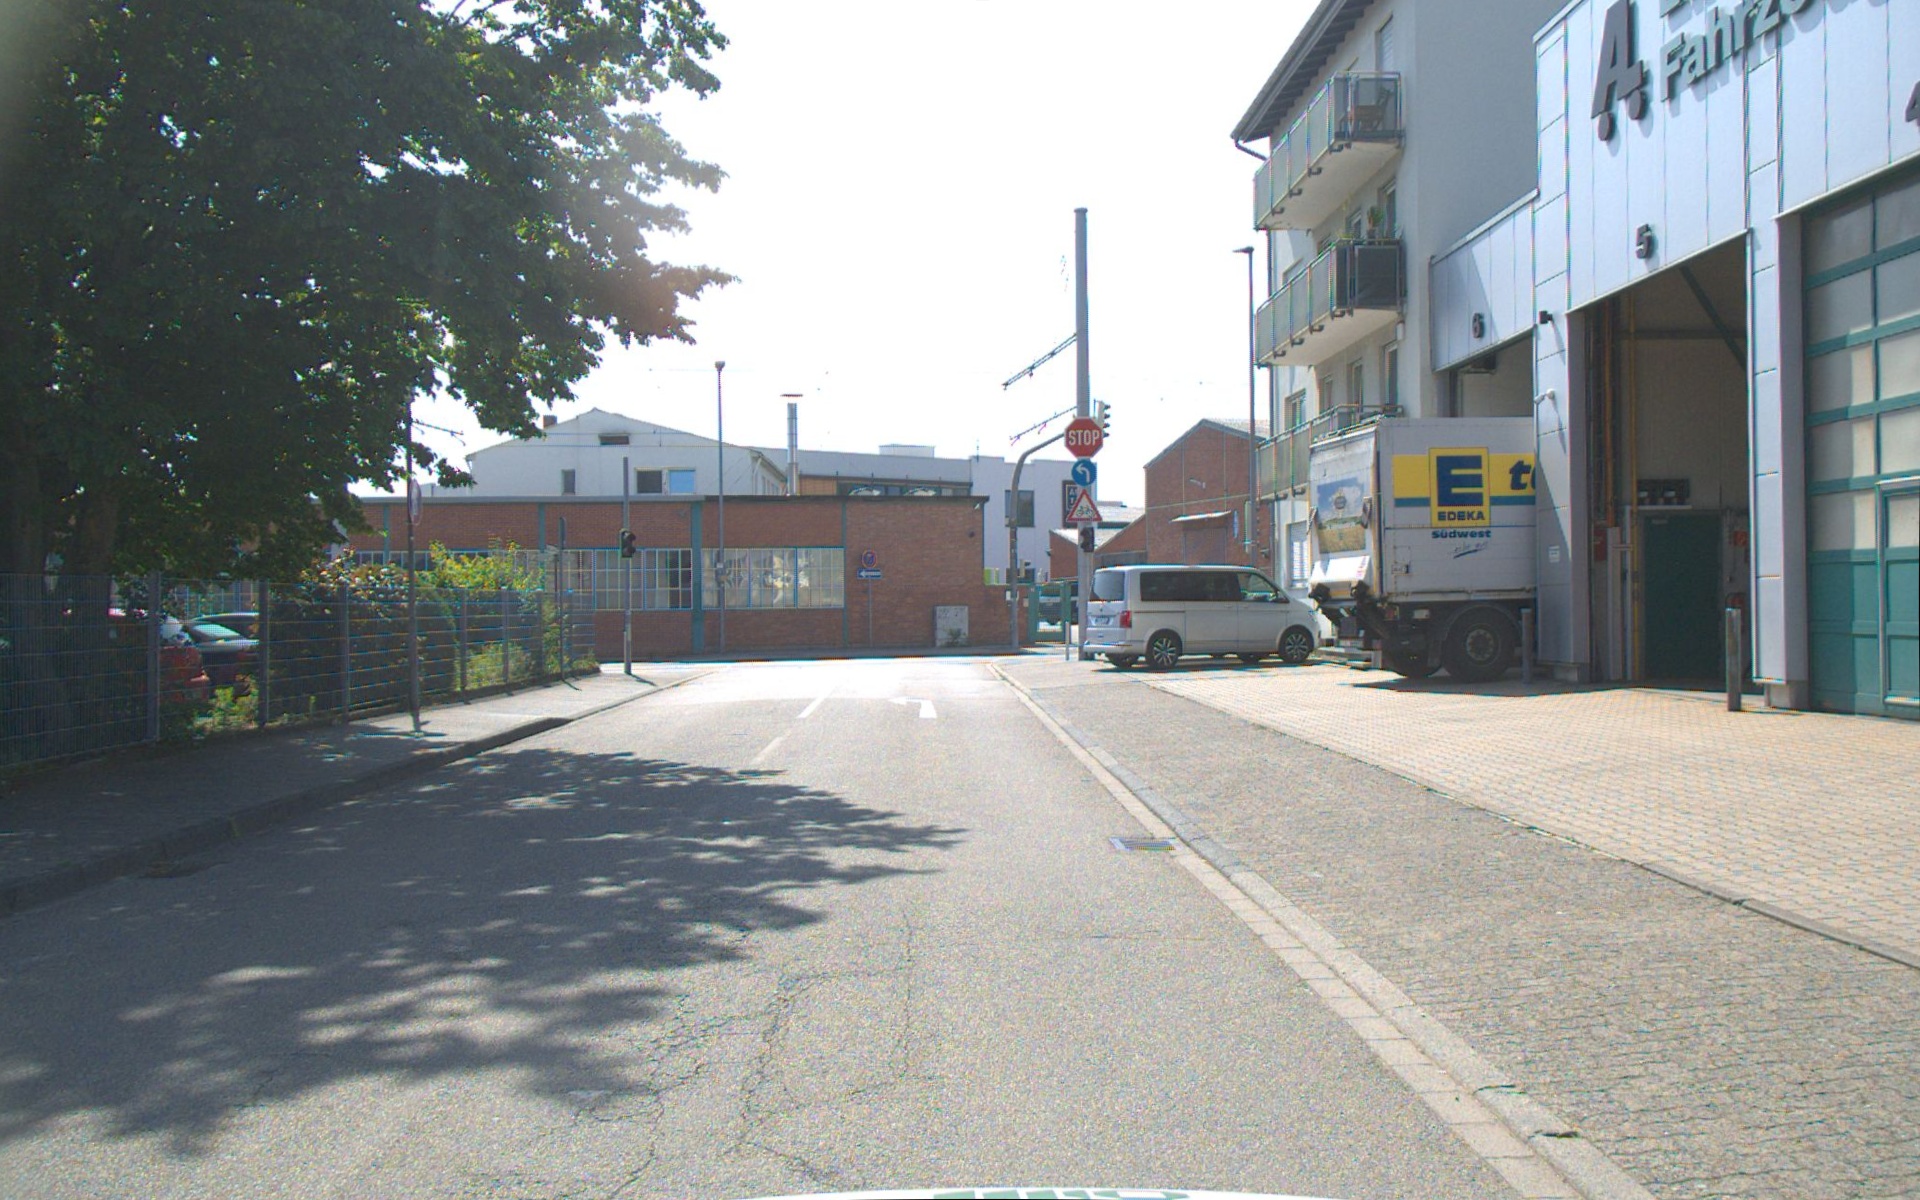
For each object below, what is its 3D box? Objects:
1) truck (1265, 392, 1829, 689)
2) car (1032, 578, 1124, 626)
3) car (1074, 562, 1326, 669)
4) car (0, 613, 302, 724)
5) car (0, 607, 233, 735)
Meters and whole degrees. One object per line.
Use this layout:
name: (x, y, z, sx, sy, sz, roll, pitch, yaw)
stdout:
truck: (8.507, -0.867, 24.383, 7.221, 3.708, 2.763, -4, 0, -8)
car: (5.560, 0.083, 77.707, 3.951, 2.228, 1.977, -1, 0, -34)
car: (4.725, 0.281, 32.637, 4.586, 1.992, 1.905, -1, 0, -21)
car: (-11.662, 0.960, 23.910, 3.583, 1.503, 1.737, -1, 0, 4)
car: (-11.265, 0.862, 20.663, 3.586, 1.503, 1.735, -1, 0, -2)
